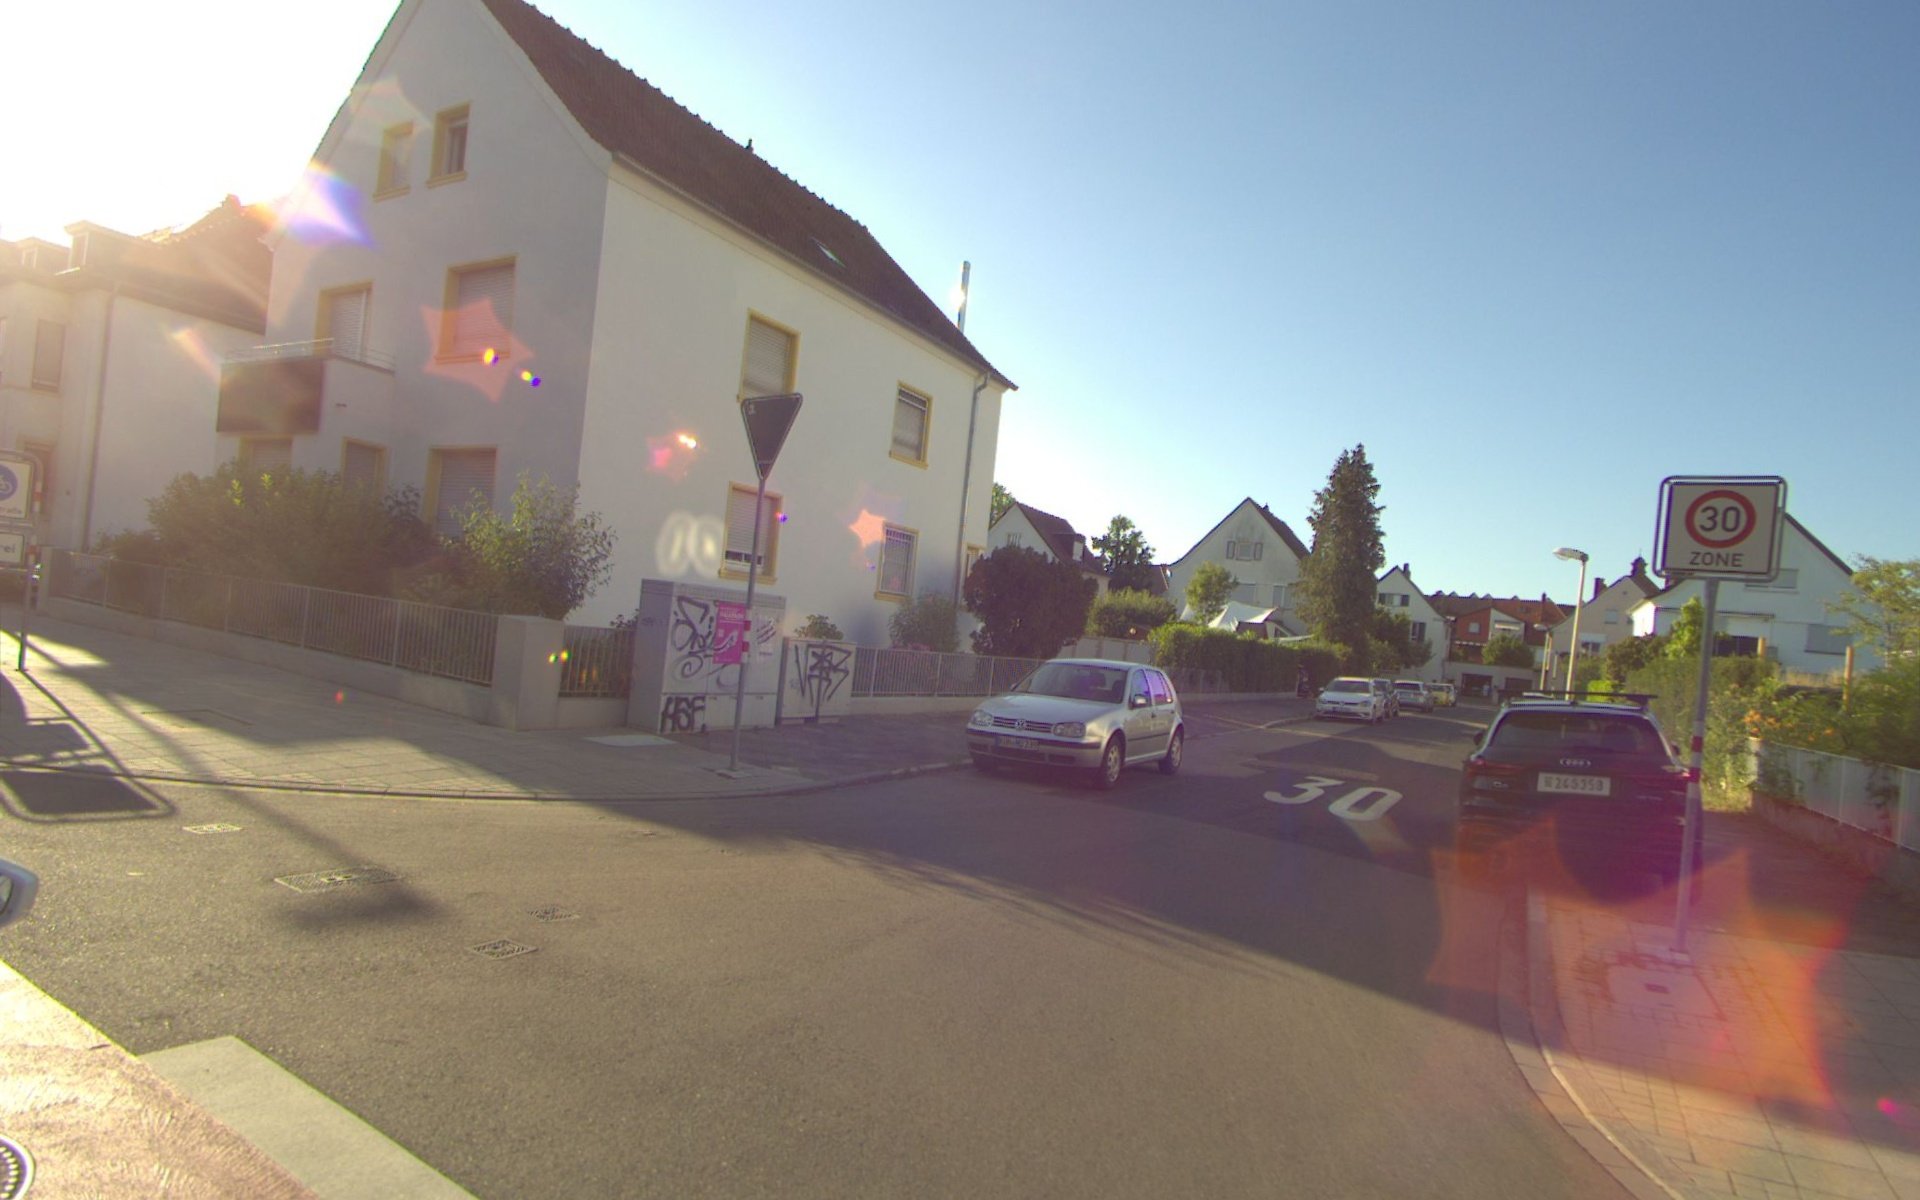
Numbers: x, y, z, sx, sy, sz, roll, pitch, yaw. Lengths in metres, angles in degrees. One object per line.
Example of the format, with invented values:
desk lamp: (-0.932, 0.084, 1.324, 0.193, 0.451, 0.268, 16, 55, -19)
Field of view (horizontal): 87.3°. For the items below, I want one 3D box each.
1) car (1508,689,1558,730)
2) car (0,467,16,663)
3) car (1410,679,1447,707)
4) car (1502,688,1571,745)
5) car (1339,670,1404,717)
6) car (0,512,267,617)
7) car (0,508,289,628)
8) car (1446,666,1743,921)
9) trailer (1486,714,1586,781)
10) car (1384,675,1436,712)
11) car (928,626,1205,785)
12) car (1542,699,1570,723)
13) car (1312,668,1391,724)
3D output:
car: (25.702, 4.857, 45.062, 1.772, 1.553, 4.386, 4, -2, 31)
car: (-12.978, -0.591, 11.586, 4.736, 2.159, 1.906, 5, 1, 33)
car: (30.637, 6.070, 65.736, 1.771, 1.552, 4.128, 4, -4, 29)
car: (19.014, 3.764, 33.143, 1.772, 1.553, 4.386, 4, -2, 31)
car: (16.119, 3.684, 39.280, 1.771, 1.552, 4.128, 4, -4, 29)
car: (-17.580, -0.692, 21.388, 1.821, 1.747, 4.225, 5, -1, 28)
car: (-16.113, -0.550, 19.905, 1.821, 1.745, 4.229, 5, -3, 28)
car: (5.905, 1.665, 9.674, 1.862, 1.707, 4.100, 4, -3, 30)
trailer: (12.015, 3.033, 21.082, 1.646, 1.032, 2.615, 4, -2, 29)
car: (22.524, 4.705, 50.248, 1.772, 1.552, 4.389, 4, -4, 31)
car: (1.507, 1.303, 12.534, 1.862, 1.486, 4.082, 4, -4, 30)
car: (47.363, 8.816, 80.025, 1.771, 1.553, 4.387, 4, -2, 30)
car: (12.998, 3.191, 33.260, 1.771, 1.552, 4.128, 4, -4, 29)
